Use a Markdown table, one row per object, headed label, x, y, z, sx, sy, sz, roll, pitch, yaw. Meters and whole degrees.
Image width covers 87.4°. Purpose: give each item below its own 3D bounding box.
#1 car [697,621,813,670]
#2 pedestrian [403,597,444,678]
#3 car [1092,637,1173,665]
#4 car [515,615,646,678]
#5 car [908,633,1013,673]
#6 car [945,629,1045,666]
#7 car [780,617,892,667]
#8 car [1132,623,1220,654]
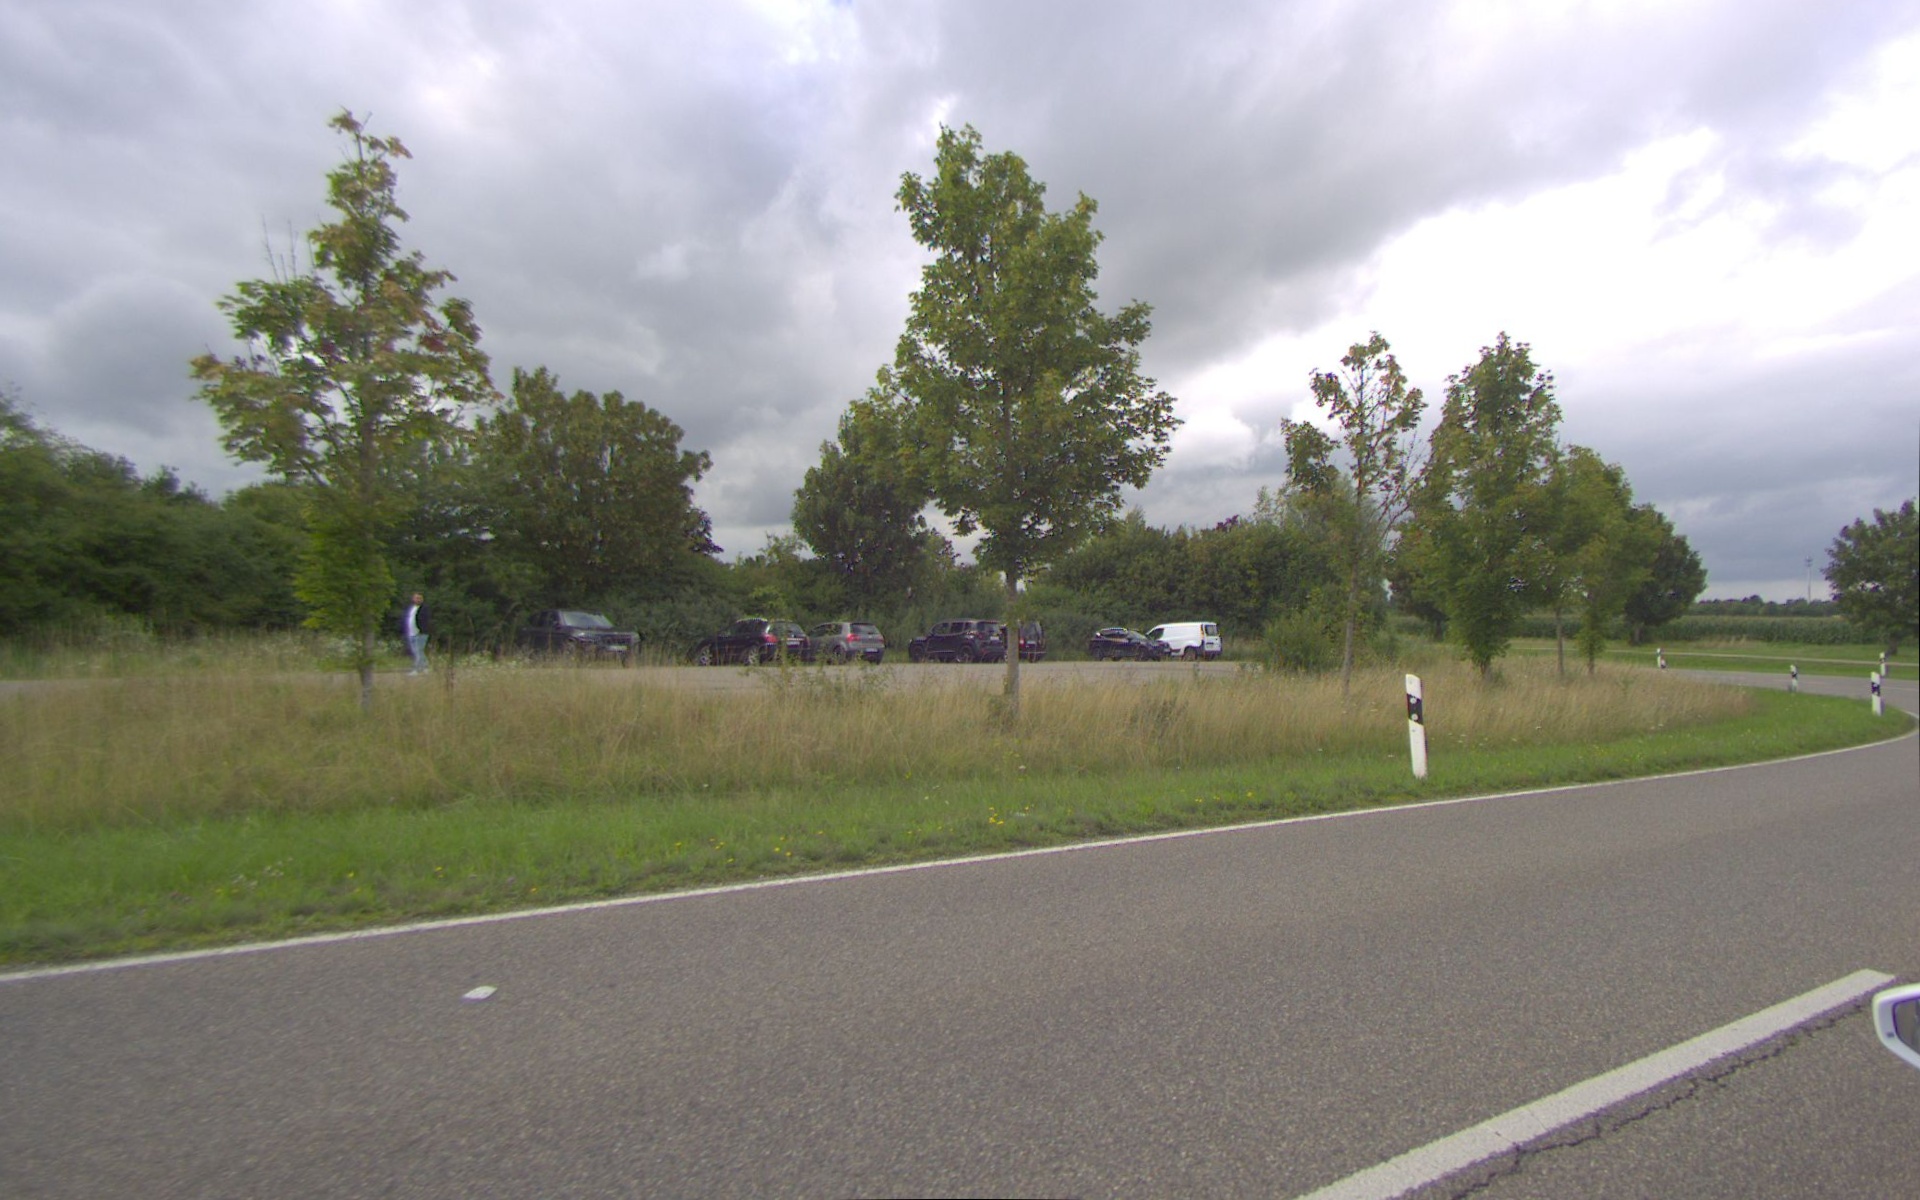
| label | x | y | z | sx | sy | sz | roll | pitch | yaw |
| --- | --- | --- | --- | --- | --- | --- | --- | --- | --- |
| car | -6.641 | 1.421 | 32.352 | 1.812 | 1.398 | 3.948 | 1 | -1 | -44 |
| pedestrian | -11.436 | 0.789 | 21.426 | 0.656 | 1.689 | 0.510 | 1 | -1 | -42 |
| car | 7.984 | 2.353 | 46.719 | 3.566 | 1.182 | 1.325 | 0 | -1 | 42 |
| car | -10.645 | 1.236 | 28.061 | 4.194 | 1.587 | 1.748 | 0 | -1 | 43 |
| car | -0.013 | 2.011 | 38.797 | 3.933 | 1.398 | 1.472 | 0 | -1 | 34 |
| car | 1.421 | 1.924 | 41.347 | 3.934 | 1.398 | 1.471 | 0 | -1 | 35 |
| car | -4.364 | 1.431 | 35.040 | 1.746 | 1.587 | 4.200 | 1 | -1 | -43 |
| car | 10.435 | 1.840 | 48.639 | 3.940 | 1.398 | 1.469 | 0 | -1 | 40 |
